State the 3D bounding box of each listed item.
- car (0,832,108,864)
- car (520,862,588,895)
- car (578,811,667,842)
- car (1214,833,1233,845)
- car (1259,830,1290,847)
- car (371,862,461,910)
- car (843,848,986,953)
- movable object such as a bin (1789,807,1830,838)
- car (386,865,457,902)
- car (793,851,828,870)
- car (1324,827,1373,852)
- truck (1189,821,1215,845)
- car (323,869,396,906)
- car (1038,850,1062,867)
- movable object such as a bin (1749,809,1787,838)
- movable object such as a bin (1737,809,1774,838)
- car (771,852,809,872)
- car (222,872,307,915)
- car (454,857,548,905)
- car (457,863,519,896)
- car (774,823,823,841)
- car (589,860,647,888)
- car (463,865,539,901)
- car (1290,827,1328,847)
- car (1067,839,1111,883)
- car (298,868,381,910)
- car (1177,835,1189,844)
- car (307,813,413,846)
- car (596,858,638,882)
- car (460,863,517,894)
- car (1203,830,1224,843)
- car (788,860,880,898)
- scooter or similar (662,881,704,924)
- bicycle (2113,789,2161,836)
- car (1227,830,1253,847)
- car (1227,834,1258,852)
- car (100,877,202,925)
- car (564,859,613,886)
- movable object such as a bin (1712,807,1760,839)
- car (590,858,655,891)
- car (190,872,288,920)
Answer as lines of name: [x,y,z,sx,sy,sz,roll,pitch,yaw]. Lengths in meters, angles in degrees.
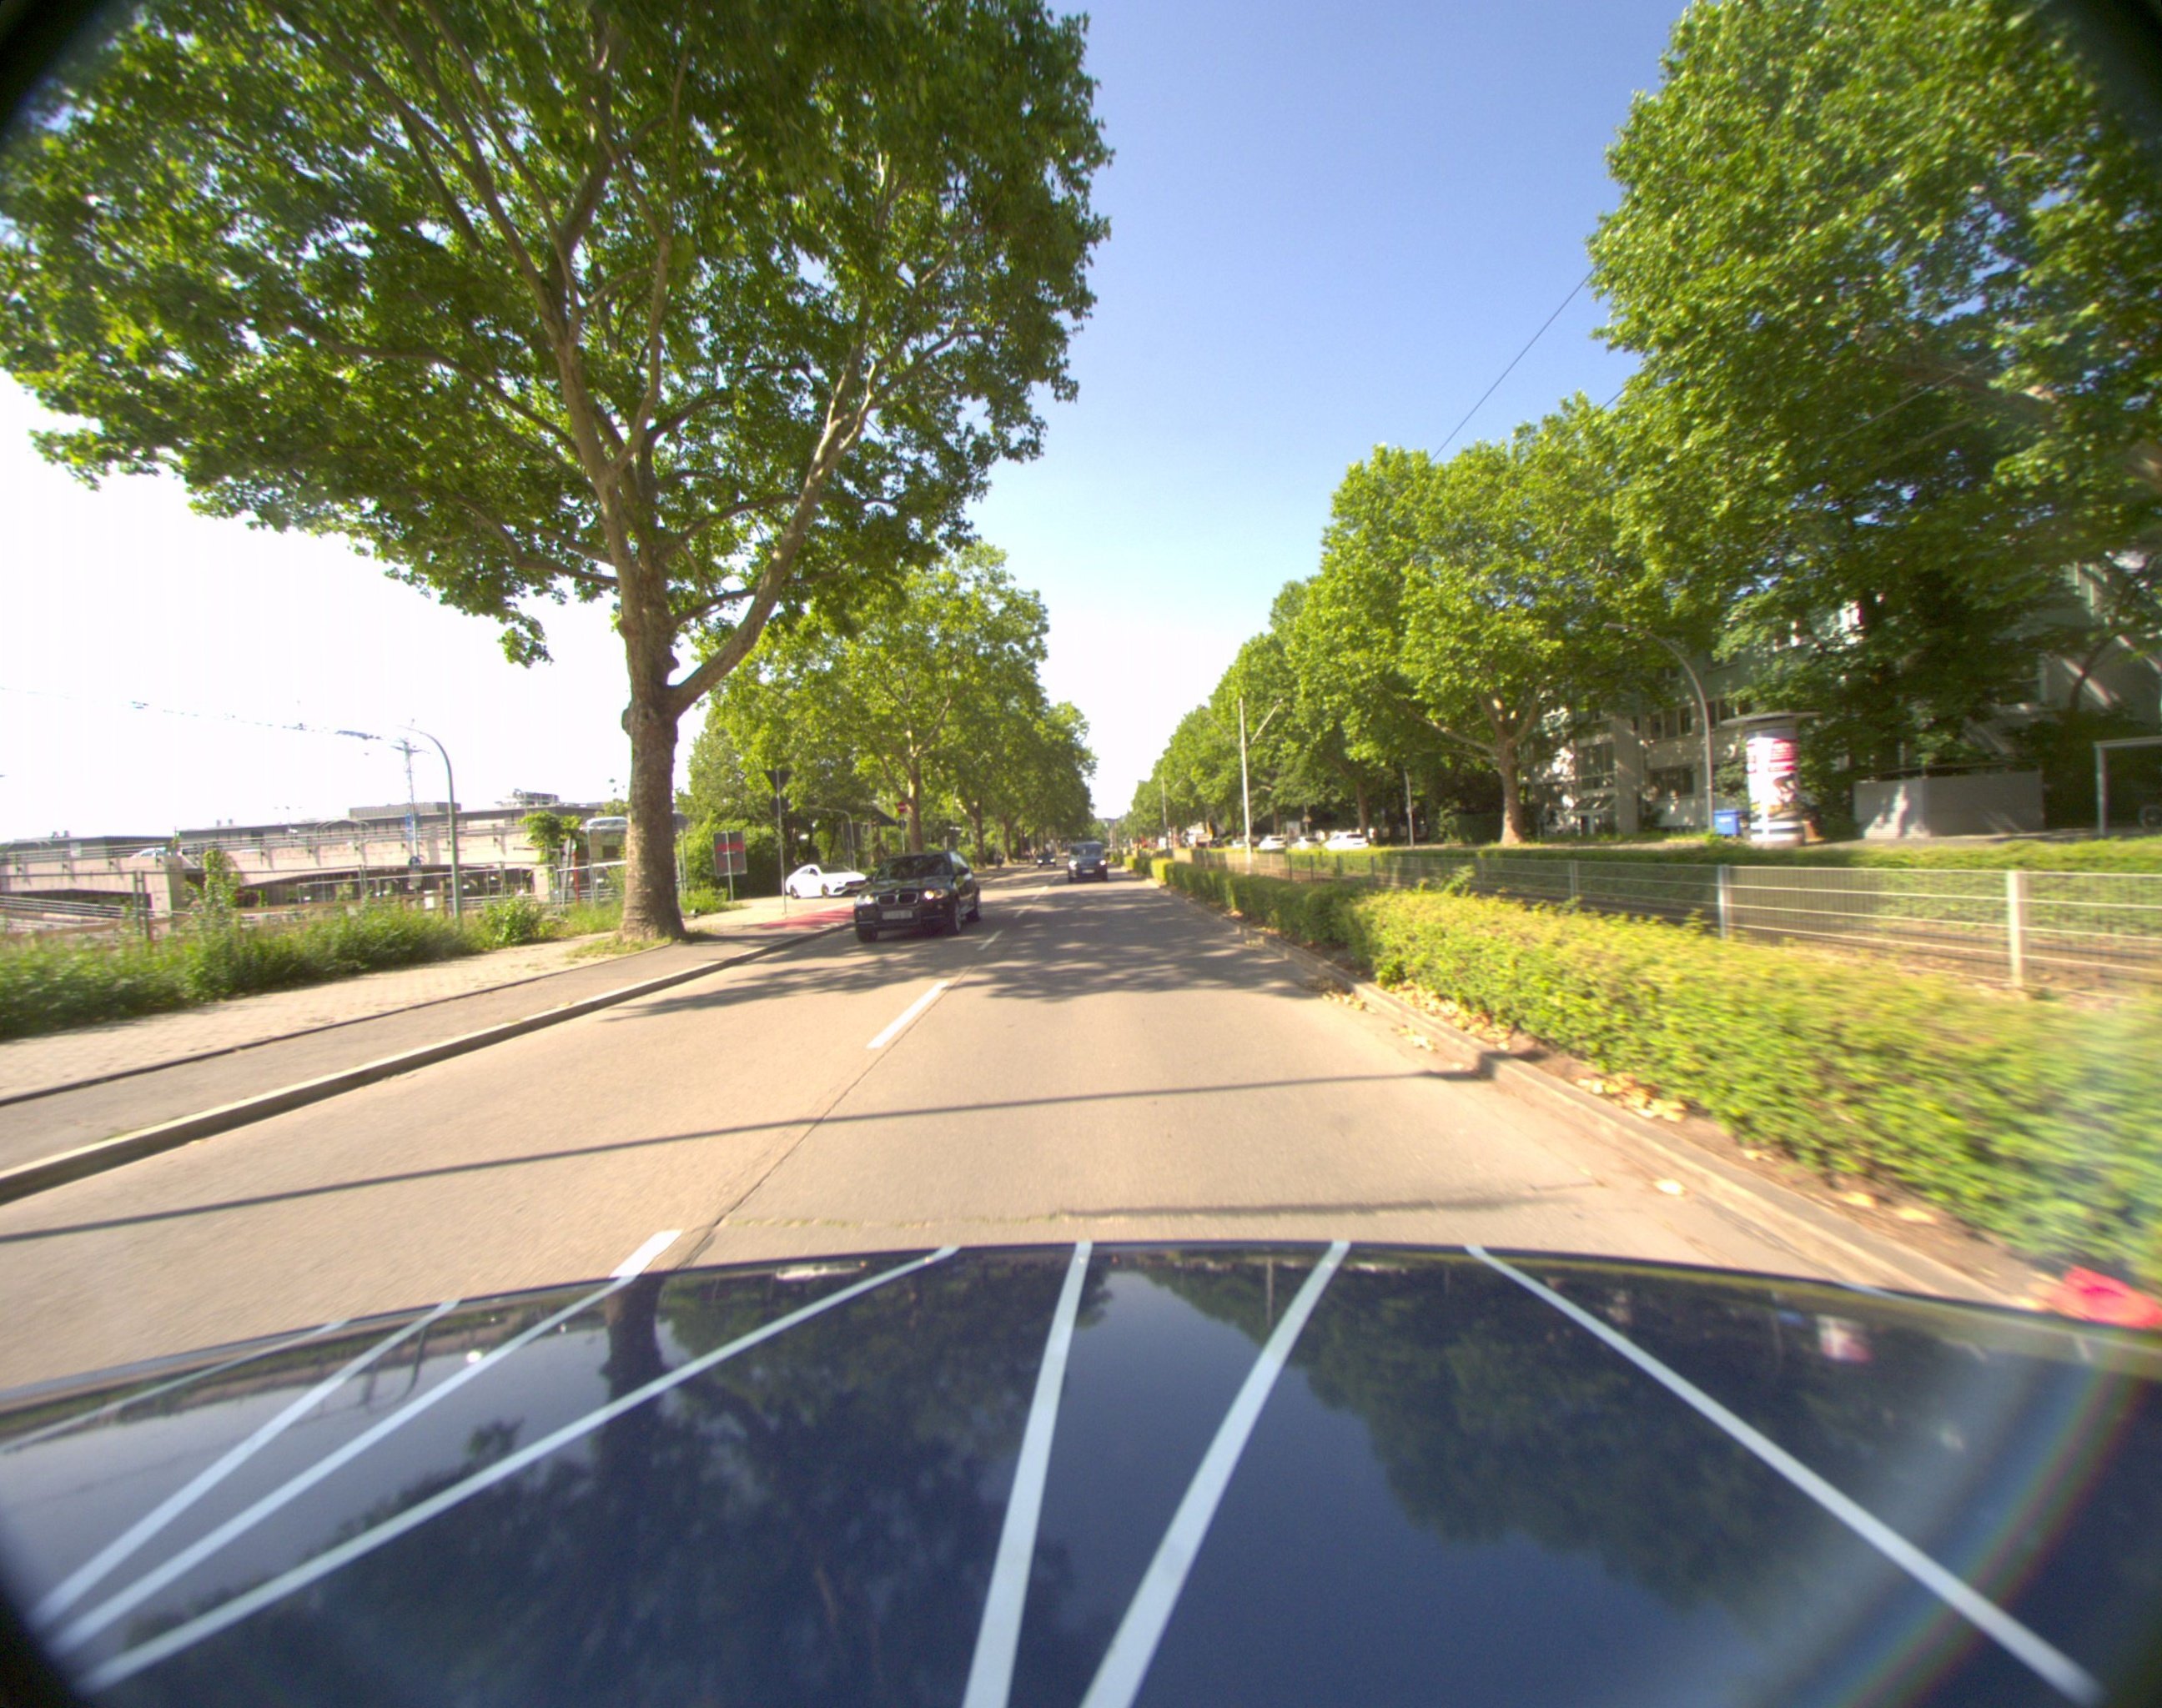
car: [-57.407,-0.344,42.299,3.997,1.501,1.808,-4,1,-1]
car: [-42.537,1.980,61.411,3.997,2.309,1.808,-4,1,-1]
car: [-26.864,-1.610,44.610,3.997,1.501,1.808,-4,1,-1]
car: [18.888,-1.984,100.938,1.752,1.445,3.864,-4,1,1]
car: [18.153,-1.435,71.454,1.860,1.445,3.999,-4,1,1]
car: [-42.747,2.022,48.913,3.997,2.723,1.808,-4,1,-1]
car: [-3.325,0.844,16.081,1.924,1.720,4.151,-5,1,1]
movable object such as a bin: [25.677,-1.112,26.791,0.898,1.031,0.546,-4,1,1]
car: [-54.338,2.429,62.633,3.997,2.723,1.808,-4,1,-1]
car: [-36.946,0.849,103.962,3.997,2.309,1.808,-4,1,-1]
car: [17.306,-0.950,49.334,1.819,1.482,3.912,-2,1,1]
truck: [18.298,-3.118,115.146,2.751,3.260,6.540,-4,1,1]
car: [-59.400,2.722,62.570,3.997,2.723,1.808,-4,1,-1]
car: [-3.063,0.417,75.309,1.854,1.419,4.151,-4,1,3]
movable object such as a bin: [25.769,-1.150,28.517,0.898,1.031,0.546,-4,1,1]
movable object such as a bin: [25.813,-1.163,29.081,0.898,1.031,0.546,-4,1,1]
car: [-37.107,0.989,97.100,3.997,2.309,1.808,-4,1,-1]
car: [-59.678,2.871,55.581,3.997,2.723,1.808,-4,1,-1]
car: [-37.190,1.722,48.778,4.375,2.723,1.808,-4,1,-1]
car: [-54.259,2.293,69.562,3.997,2.723,1.808,-4,1,-1]
car: [-27.405,-2.134,73.825,3.997,1.501,1.808,-4,1,-1]
car: [-42.370,1.815,69.627,3.997,2.309,1.808,-4,1,-1]
car: [-42.584,2.088,55.859,3.997,2.309,1.808,-4,1,-1]
car: [18.165,-1.325,60.739,1.856,1.445,3.999,-4,1,1]
car: [0.436,0.279,35.446,1.789,1.840,4.000,-3,1,3]
car: [-54.367,2.561,55.749,3.997,2.723,1.808,-4,1,-1]
car: [18.642,-2.696,139.104,1.752,1.445,3.864,-4,1,1]
car: [-39.960,-1.350,42.192,3.997,1.501,1.808,-4,1,-1]
car: [-59.328,2.061,97.201,3.997,2.723,1.808,-4,1,-1]
car: [-59.488,2.466,76.327,3.997,2.723,1.808,-4,1,-1]
car: [16.002,-2.128,92.022,1.701,1.406,3.891,-6,1,1]
car: [-10.477,1.085,32.111,3.989,1.400,1.900,-3,1,42]
scooter or similar: [-11.359,1.362,21.713,0.483,1.115,1.128,-4,1,2]
bicycle: [27.003,-1.068,19.006,1.770,1.096,0.421,-4,1,0]
car: [16.902,-1.635,80.799,1.860,1.573,3.999,-4,1,1]
car: [14.331,-0.961,67.550,1.860,1.445,3.999,-4,1,1]
car: [-59.706,3.001,48.841,3.997,2.723,1.808,-4,1,-1]
car: [-54.058,2.019,83.388,3.997,2.723,1.808,-4,1,-1]
movable object such as a bin: [25.798,-1.221,29.944,0.898,1.182,1.099,-4,1,1]
car: [-37.101,1.663,61.569,3.997,2.309,1.808,-4,1,-1]
car: [-53.941,2.670,48.716,3.997,2.723,1.808,-4,1,-1]
